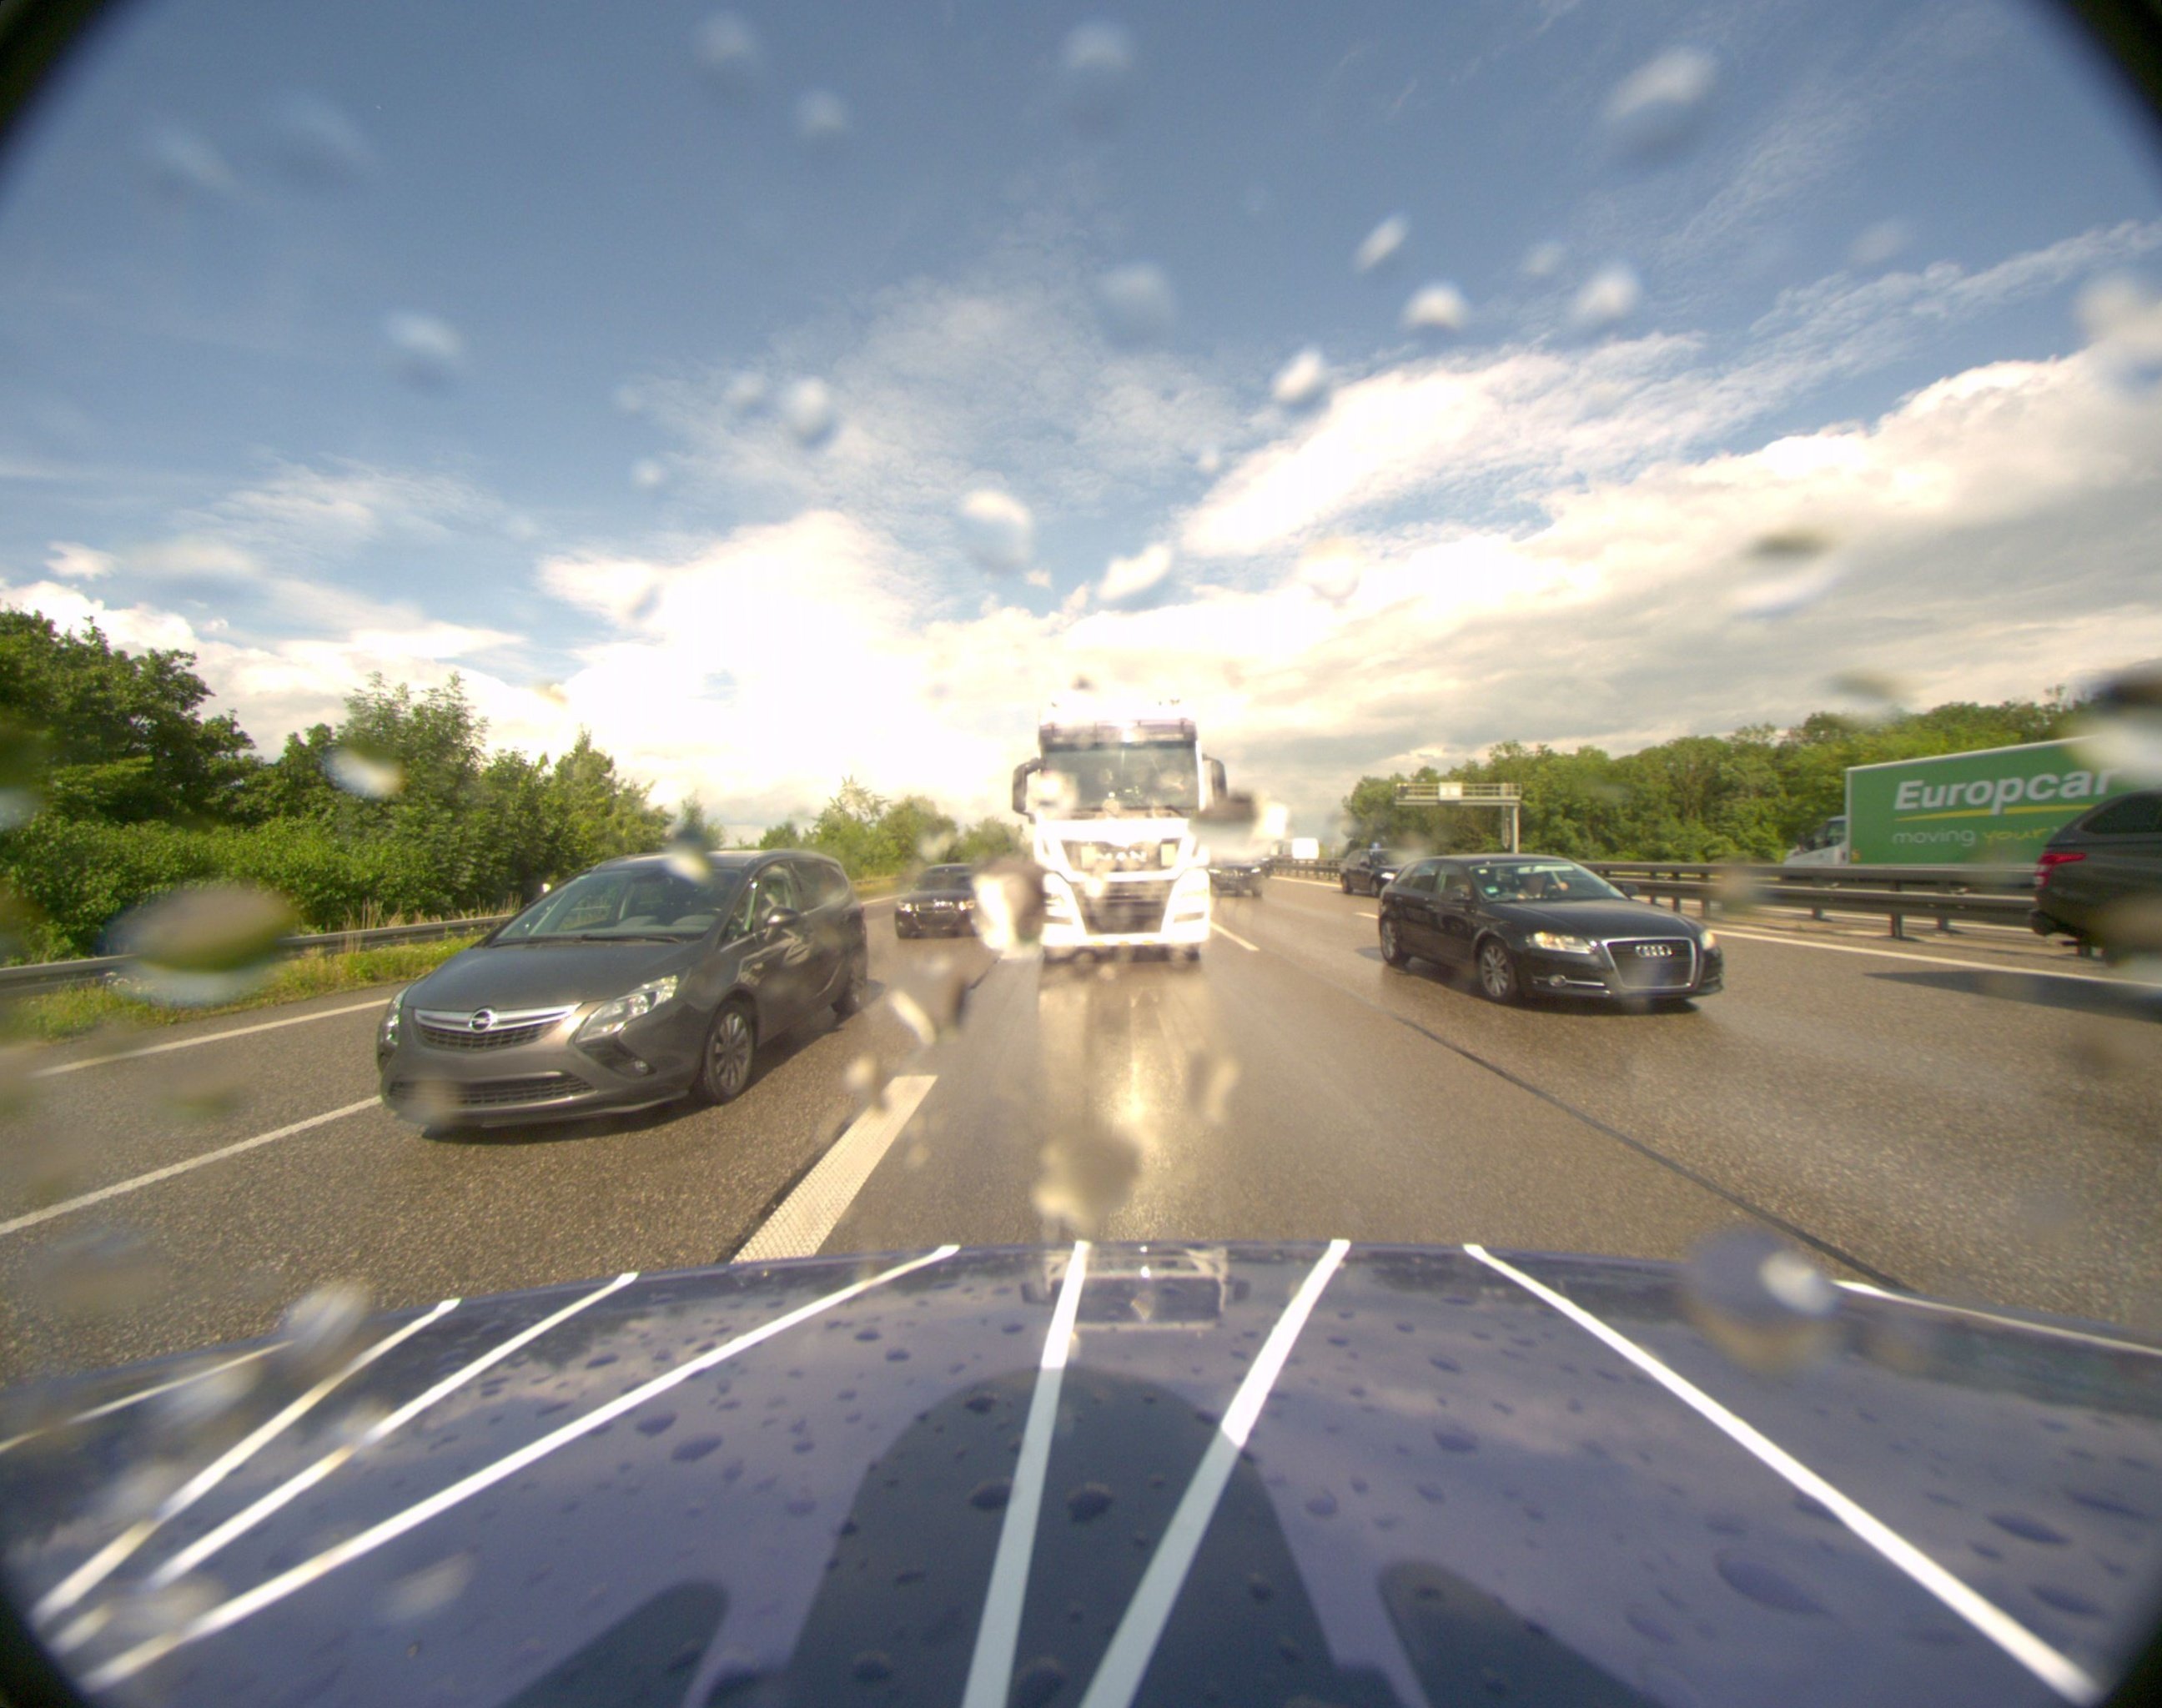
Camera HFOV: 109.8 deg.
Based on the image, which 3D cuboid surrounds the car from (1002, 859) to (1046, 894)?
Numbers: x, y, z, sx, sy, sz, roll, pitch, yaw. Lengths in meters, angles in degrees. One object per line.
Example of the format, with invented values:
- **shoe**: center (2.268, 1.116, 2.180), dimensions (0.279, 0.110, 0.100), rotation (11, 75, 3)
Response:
- **car**: center (-2.448, 0.942, 33.094), dimensions (1.744, 1.357, 3.999), rotation (-2, 0, -3)

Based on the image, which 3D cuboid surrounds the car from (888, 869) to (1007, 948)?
- **car**: center (-2.674, 1.054, 16.094), dimensions (1.722, 1.346, 3.884), rotation (-2, 0, 1)

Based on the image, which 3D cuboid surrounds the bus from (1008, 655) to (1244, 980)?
- **bus**: center (0.660, -0.480, 14.753), dimensions (2.904, 4.104, 9.845), rotation (-2, 0, 1)

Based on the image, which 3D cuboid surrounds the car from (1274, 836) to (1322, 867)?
- **car**: center (17.408, -0.202, 61.328), dimensions (2.119, 2.382, 6.102), rotation (-2, 0, 1)

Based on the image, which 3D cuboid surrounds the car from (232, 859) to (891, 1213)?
- **car**: center (-3.109, 0.903, 6.048), dimensions (1.858, 1.622, 4.736), rotation (-2, 0, 1)

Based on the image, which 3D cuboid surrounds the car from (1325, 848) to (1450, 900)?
- **car**: center (9.326, 0.550, 23.539), dimensions (1.925, 1.416, 4.371), rotation (-2, 0, -3)

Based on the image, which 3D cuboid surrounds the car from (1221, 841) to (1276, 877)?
- **car**: center (9.492, 0.261, 43.528), dimensions (1.998, 1.906, 5.235), rotation (-2, 0, 0)

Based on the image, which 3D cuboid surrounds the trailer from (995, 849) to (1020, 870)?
- **trailer**: center (-6.576, 0.492, 68.427), dimensions (1.810, 1.736, 3.967), rotation (-3, 0, 0)

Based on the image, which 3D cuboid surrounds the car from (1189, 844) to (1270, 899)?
- **car**: center (5.016, 0.541, 26.362), dimensions (1.881, 1.669, 4.626), rotation (-2, 0, 0)

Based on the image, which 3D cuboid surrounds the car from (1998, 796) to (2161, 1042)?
- **car**: center (8.889, 0.465, 3.930), dimensions (1.811, 1.833, 5.418), rotation (-2, 0, 1)

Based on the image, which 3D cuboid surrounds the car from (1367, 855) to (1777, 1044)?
- **car**: center (4.649, 0.765, 8.041), dimensions (1.754, 1.425, 4.054), rotation (-2, 0, 1)

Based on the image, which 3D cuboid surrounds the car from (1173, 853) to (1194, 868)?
- **car**: center (10.440, 0.665, 77.368), dimensions (1.618, 1.412, 4.000), rotation (-2, 0, 1)

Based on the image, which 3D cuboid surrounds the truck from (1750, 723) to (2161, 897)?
- **truck**: center (19.973, -0.844, 16.674), dimensions (2.923, 2.970, 8.721), rotation (-2, 1, 0)

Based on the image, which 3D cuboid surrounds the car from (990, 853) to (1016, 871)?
- **car**: center (-6.560, 0.660, 64.223), dimensions (1.747, 1.422, 4.404), rotation (-2, 0, 0)

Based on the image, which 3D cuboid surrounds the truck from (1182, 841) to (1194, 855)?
- **truck**: center (31.773, -1.721, 226.697), dimensions (2.799, 3.861, 8.919), rotation (-2, 0, 3)

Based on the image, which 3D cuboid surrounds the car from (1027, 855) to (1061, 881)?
- **car**: center (-2.173, 0.791, 45.414), dimensions (1.858, 1.434, 3.999), rotation (-2, 0, 0)

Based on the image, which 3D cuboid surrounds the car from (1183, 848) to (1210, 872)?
- **car**: center (7.826, 0.391, 51.524), dimensions (1.409, 1.588, 2.830), rotation (-2, 0, 1)
